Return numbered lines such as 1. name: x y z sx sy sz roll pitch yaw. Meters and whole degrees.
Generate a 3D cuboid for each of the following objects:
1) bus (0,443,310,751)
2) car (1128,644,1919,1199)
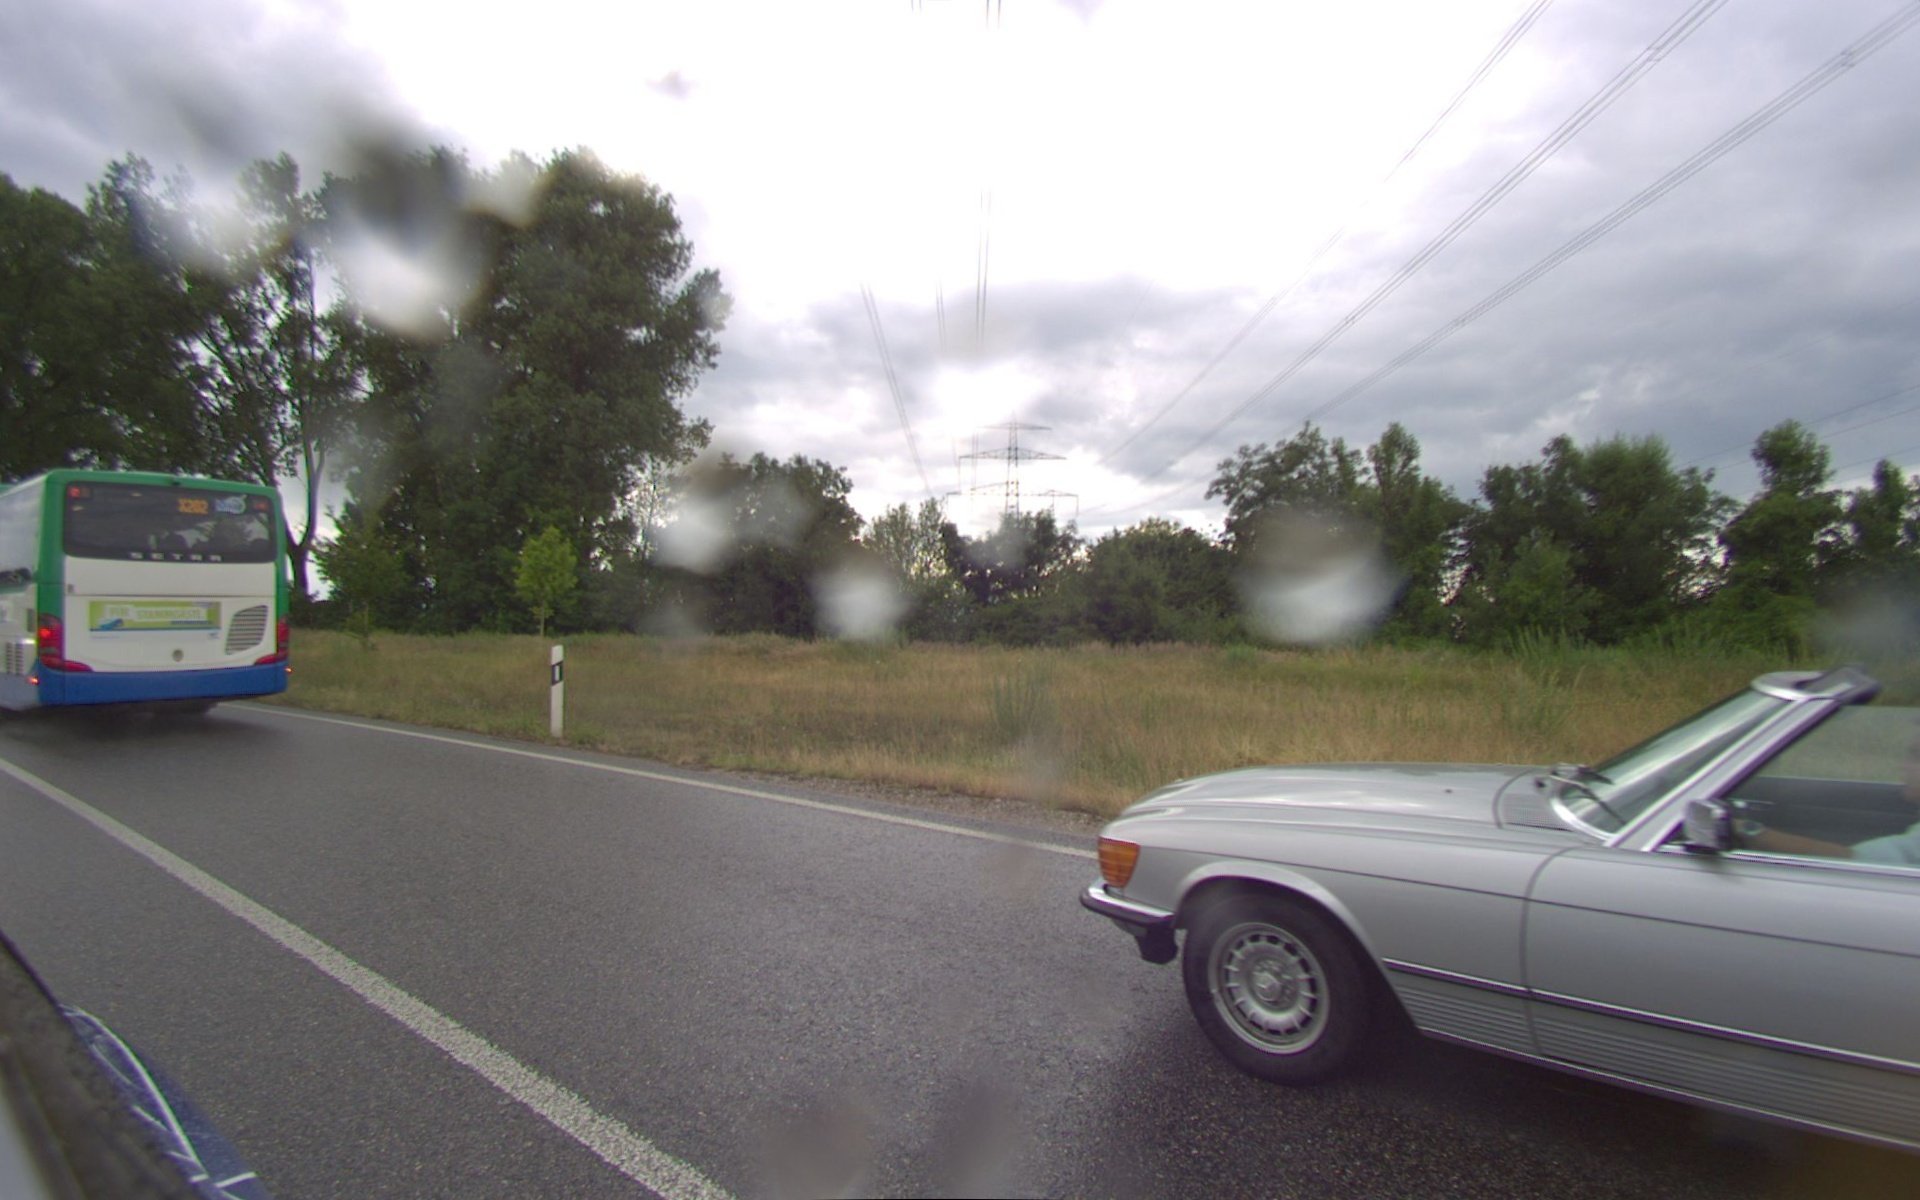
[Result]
1. bus: -14.179 0.067 15.837 12.482 3.323 2.732 -1 -1 38
2. car: 2.595 0.773 2.607 3.998 1.260 1.701 -1 -3 42
